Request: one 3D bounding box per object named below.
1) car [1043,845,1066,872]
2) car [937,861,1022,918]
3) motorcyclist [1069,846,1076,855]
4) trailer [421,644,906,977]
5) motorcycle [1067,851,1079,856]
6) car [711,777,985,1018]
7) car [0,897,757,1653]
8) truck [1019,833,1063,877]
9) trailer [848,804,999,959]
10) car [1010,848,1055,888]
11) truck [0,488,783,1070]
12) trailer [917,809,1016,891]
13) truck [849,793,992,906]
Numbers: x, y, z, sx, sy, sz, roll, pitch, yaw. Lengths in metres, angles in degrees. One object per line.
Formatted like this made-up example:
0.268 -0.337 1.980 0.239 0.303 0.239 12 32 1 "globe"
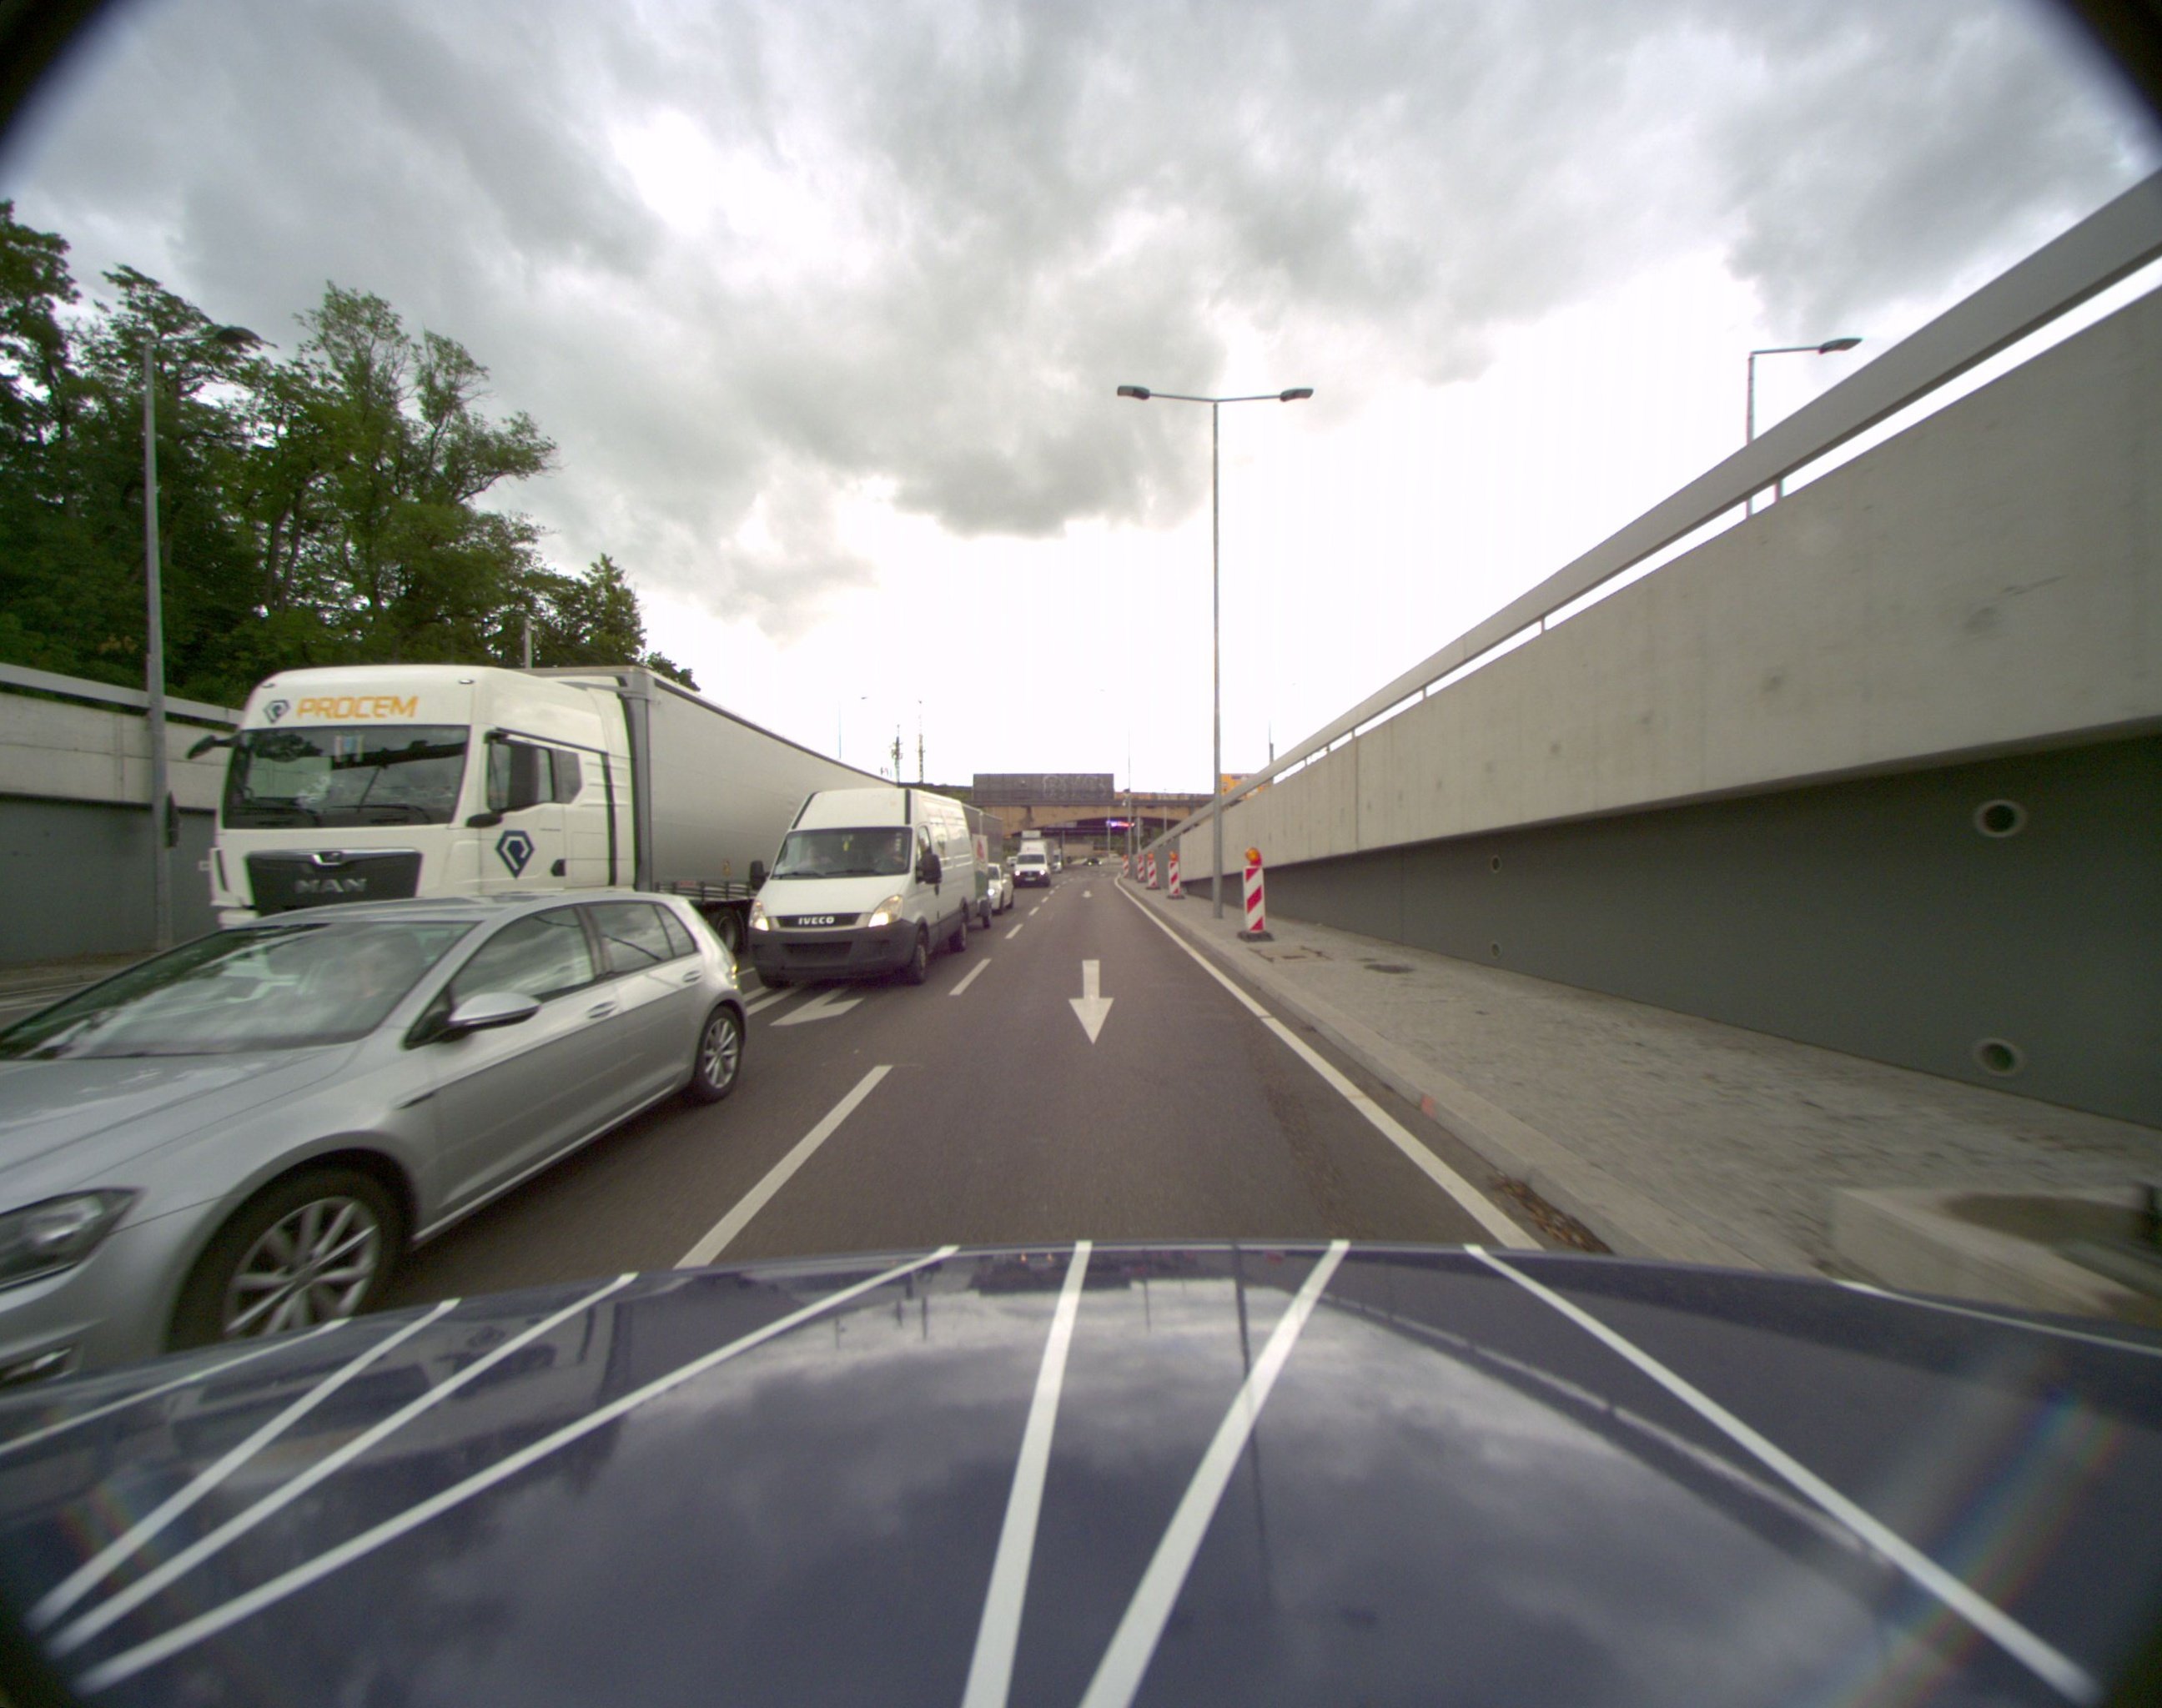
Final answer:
-2.950 0.461 86.048 2.160 2.880 6.210 -2 1 1 "car"
-2.896 0.968 22.514 1.720 1.390 4.347 -1 1 3 "car"
-1.523 -0.629 140.200 1.100 1.596 0.668 -3 -1 39 "motorcyclist"
-7.356 -0.647 16.922 3.814 4.604 12.113 -3 0 1 "trailer"
-1.489 -0.104 140.194 2.388 0.911 0.668 -4 -1 39 "motorcycle"
-2.941 0.432 11.341 2.063 2.613 5.941 -2 1 1 "car"
-3.204 1.036 3.269 1.768 1.375 4.038 -1 1 2 "car"
-3.535 -0.005 69.397 3.032 3.567 8.949 -5 1 2 "truck"
-2.960 0.430 15.444 2.109 2.624 4.808 -1 1 -1 "trailer"
-2.569 0.709 41.701 1.998 1.978 5.199 -2 1 1 "car"
-7.412 -0.612 9.938 3.814 4.604 7.441 -3 0 0 "truck"
-6.464 -0.243 45.208 3.733 4.117 10.983 -2 0 2 "trailer"
-6.715 -0.191 34.227 3.733 4.117 10.983 -2 0 1 "truck"
